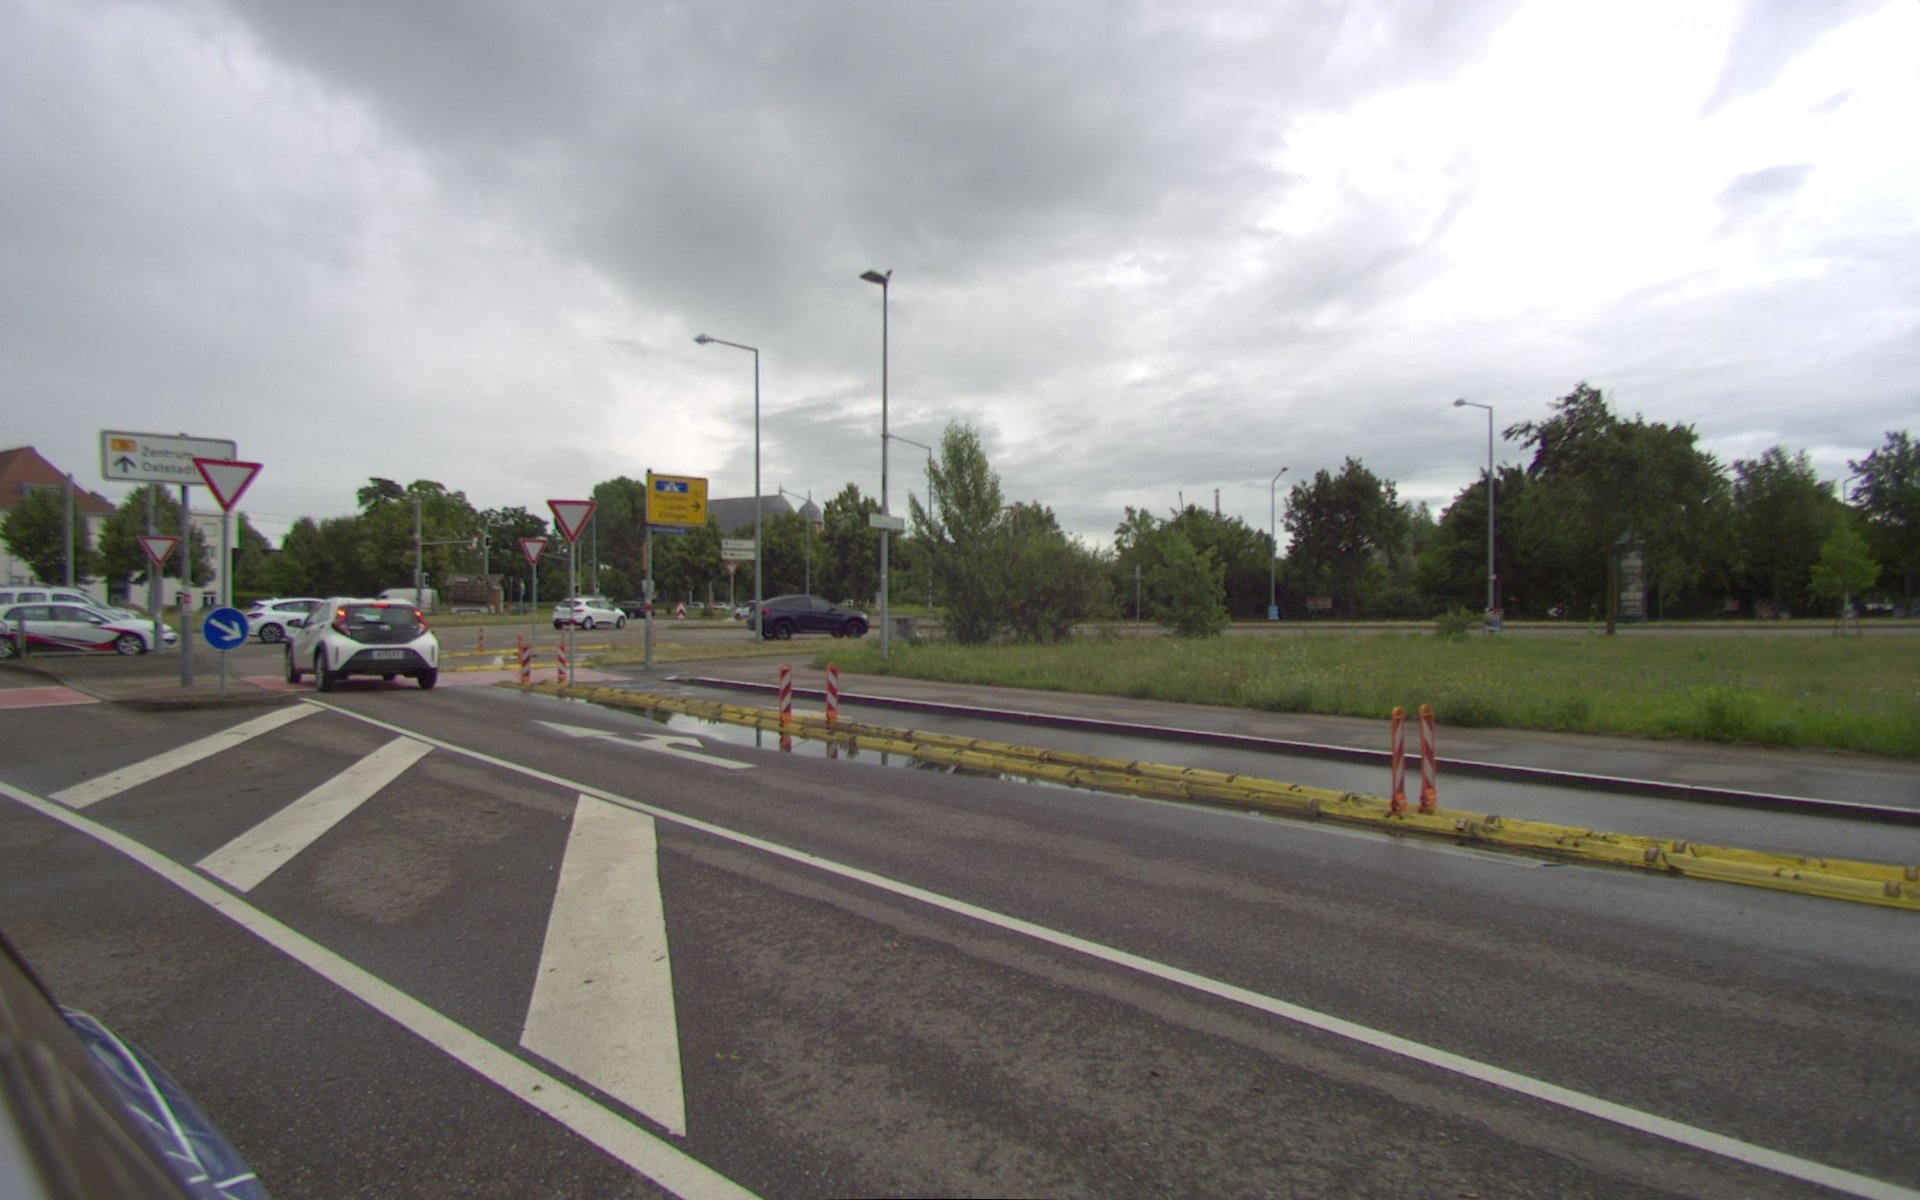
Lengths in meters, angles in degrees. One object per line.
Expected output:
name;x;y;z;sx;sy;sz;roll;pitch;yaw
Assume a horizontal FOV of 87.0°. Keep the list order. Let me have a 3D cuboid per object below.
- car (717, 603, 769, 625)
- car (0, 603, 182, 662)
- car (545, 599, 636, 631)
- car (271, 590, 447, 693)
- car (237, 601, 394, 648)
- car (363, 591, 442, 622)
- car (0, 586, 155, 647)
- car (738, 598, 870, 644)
car;-16.355;1.038;76.318;3.999;1.567;1.872;0;0;42
car;-23.590;0.828;26.940;4.356;1.468;1.838;0;0;-30
car;-17.537;0.688;48.320;1.904;1.466;4.454;0;0;15
car;-10.554;0.684;17.656;1.730;1.599;3.904;3;-2;-44
car;-21.813;0.769;34.335;4.402;1.468;1.926;0;0;-35
car;-47.490;0.569;86.343;5.521;2.561;2.244;0;0;-7
car;-29.633;0.522;33.508;4.409;1.918;1.927;0;0;-30
car;-6.030;0.767;39.174;4.671;1.680;1.927;0;0;-31
